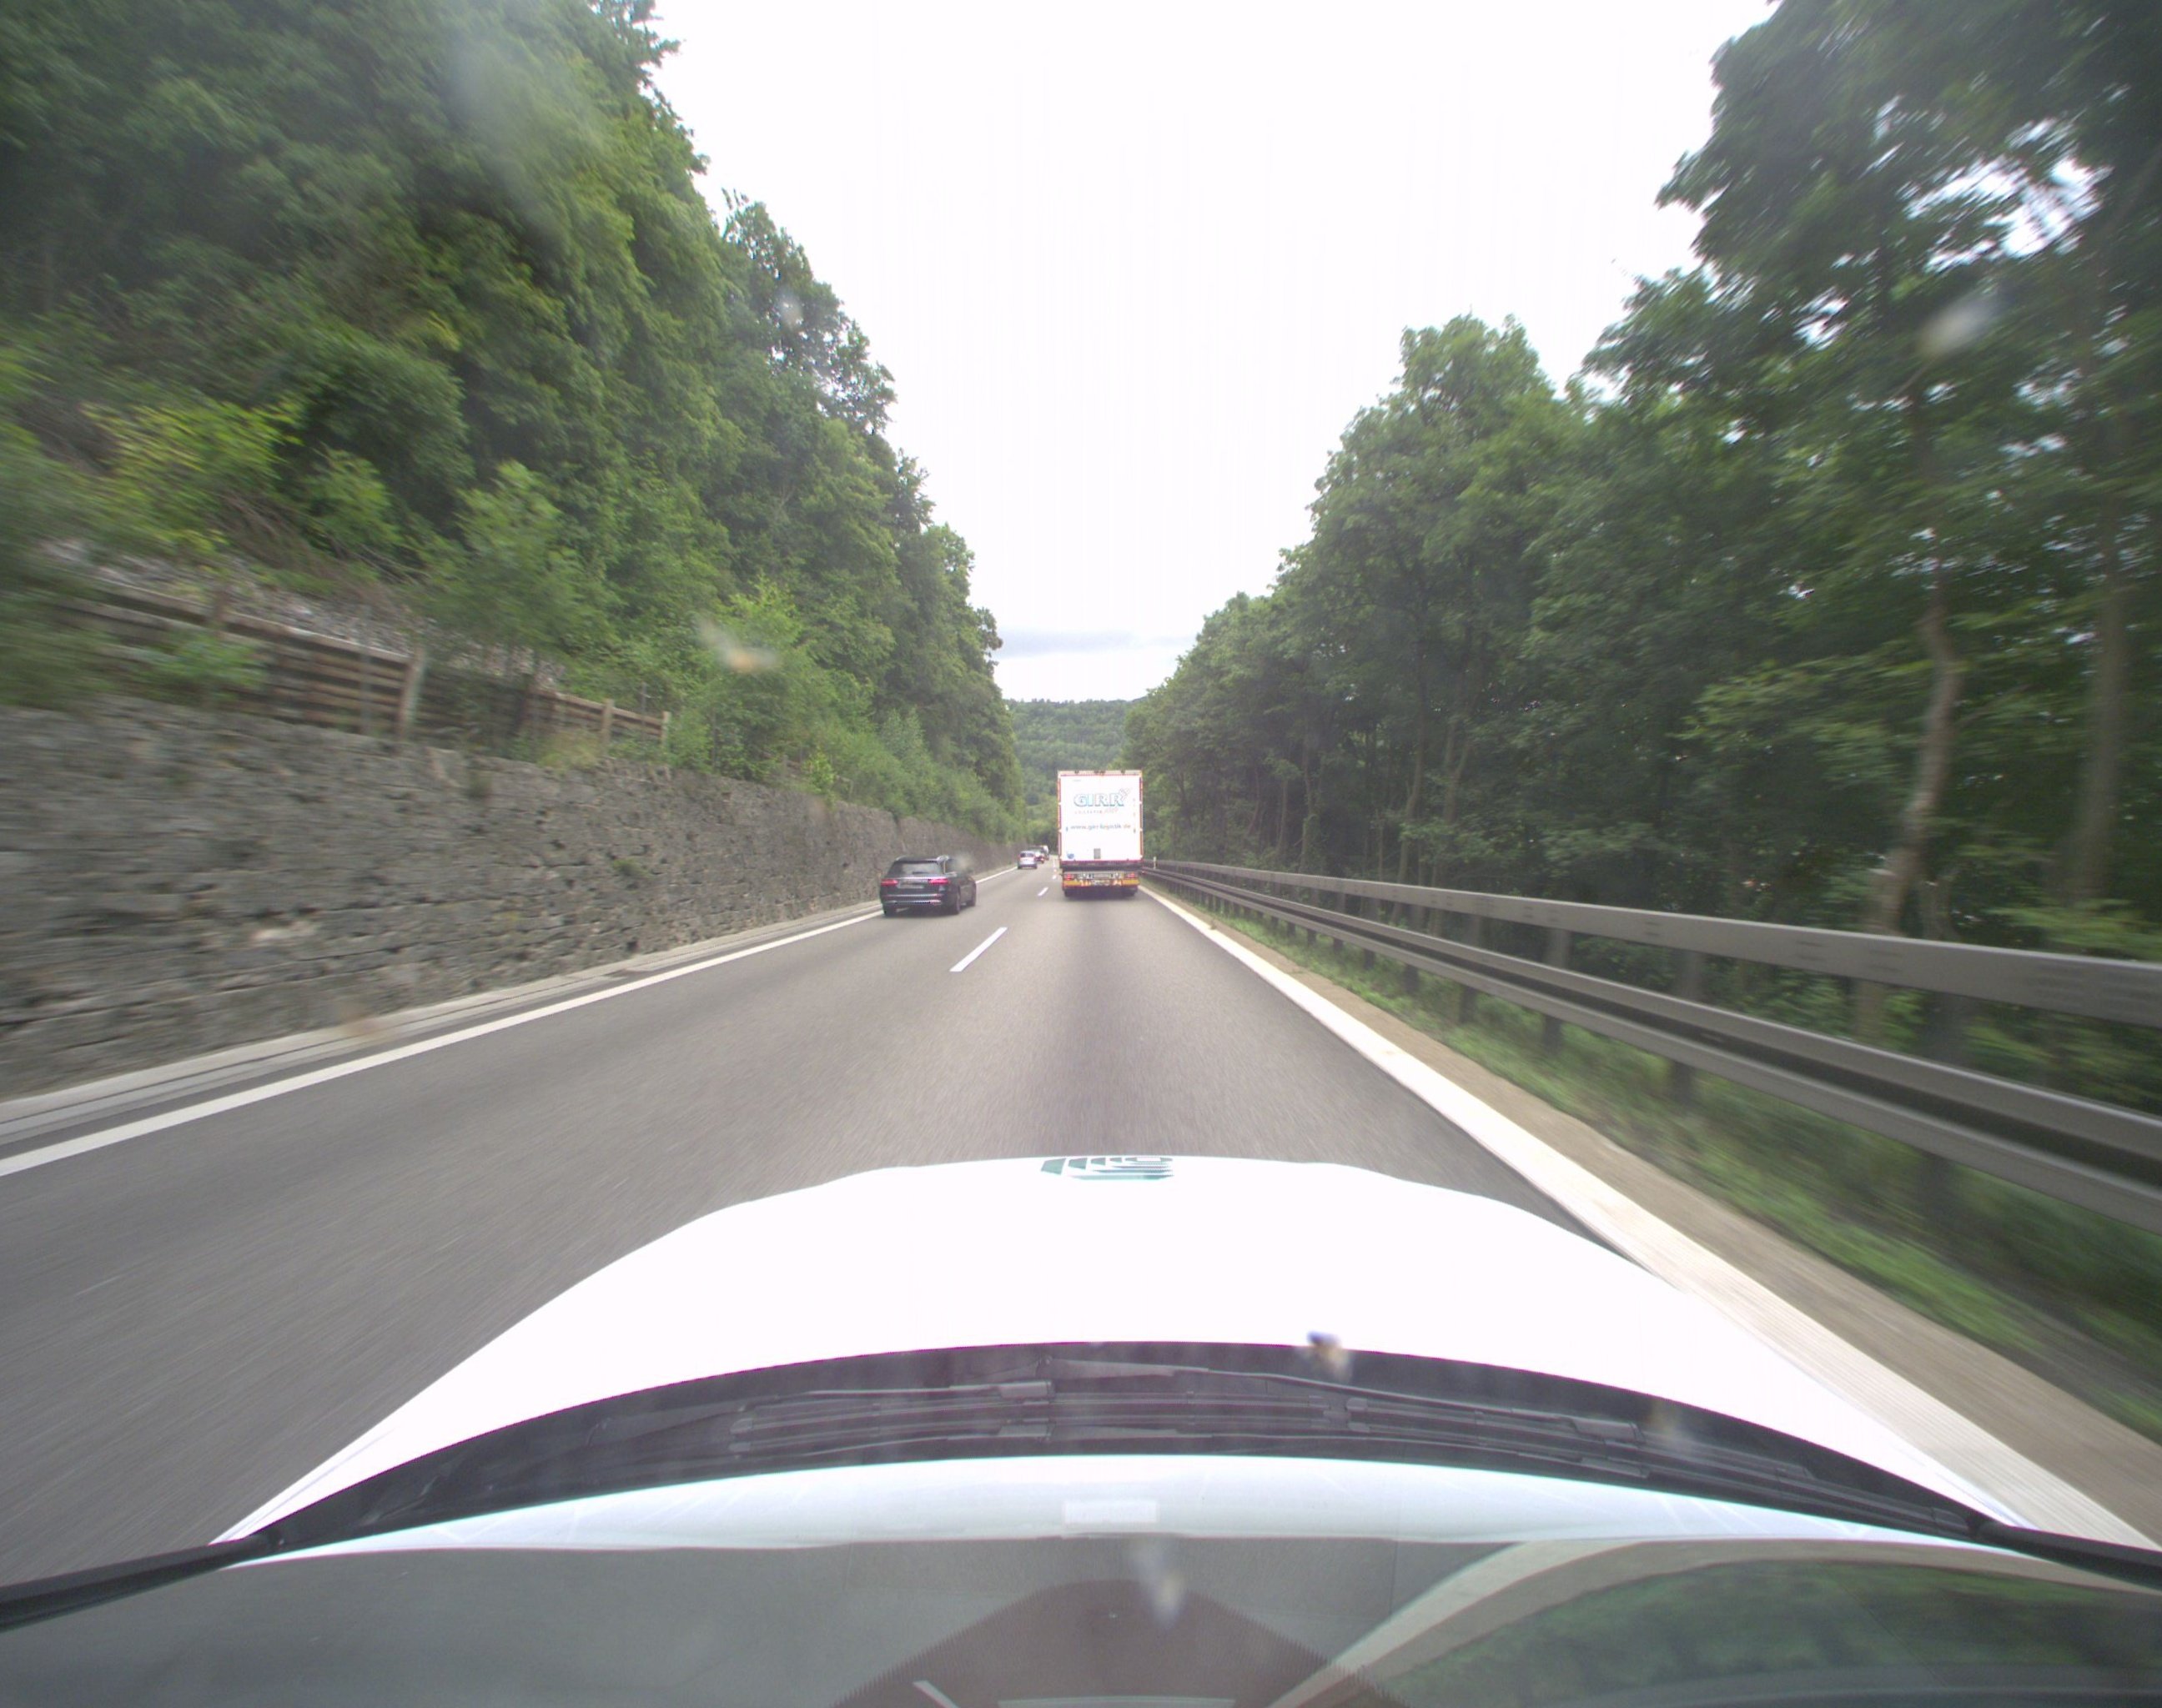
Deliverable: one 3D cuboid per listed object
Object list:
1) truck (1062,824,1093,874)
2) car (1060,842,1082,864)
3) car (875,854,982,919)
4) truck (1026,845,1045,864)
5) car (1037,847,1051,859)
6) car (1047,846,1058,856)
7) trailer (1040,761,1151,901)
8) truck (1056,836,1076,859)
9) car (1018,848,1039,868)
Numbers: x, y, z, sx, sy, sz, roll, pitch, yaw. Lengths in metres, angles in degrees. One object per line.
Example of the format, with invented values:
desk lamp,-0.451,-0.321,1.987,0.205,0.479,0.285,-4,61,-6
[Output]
truck,-0.232,-0.371,67.249,2.225,3.804,6.824,2,0,1
car,-0.896,-0.046,78.391,1.987,2.014,4.332,2,0,0
car,-3.842,0.753,21.411,1.754,1.463,5.123,0,0,1
truck,-5.933,0.029,106.034,2.344,2.274,6.842,2,0,-3
car,-6.116,-0.210,136.087,2.012,1.914,5.562,2,0,0
car,-5.545,-0.552,158.124,1.988,2.014,3.997,2,0,-2
trailer,0.410,-0.735,29.069,3.123,4.042,9.436,3,0,-1
truck,-2.669,-1.046,141.022,3.061,3.877,8.450,2,0,-2
car,-4.718,0.328,73.644,1.628,1.726,4.345,0,0,0
